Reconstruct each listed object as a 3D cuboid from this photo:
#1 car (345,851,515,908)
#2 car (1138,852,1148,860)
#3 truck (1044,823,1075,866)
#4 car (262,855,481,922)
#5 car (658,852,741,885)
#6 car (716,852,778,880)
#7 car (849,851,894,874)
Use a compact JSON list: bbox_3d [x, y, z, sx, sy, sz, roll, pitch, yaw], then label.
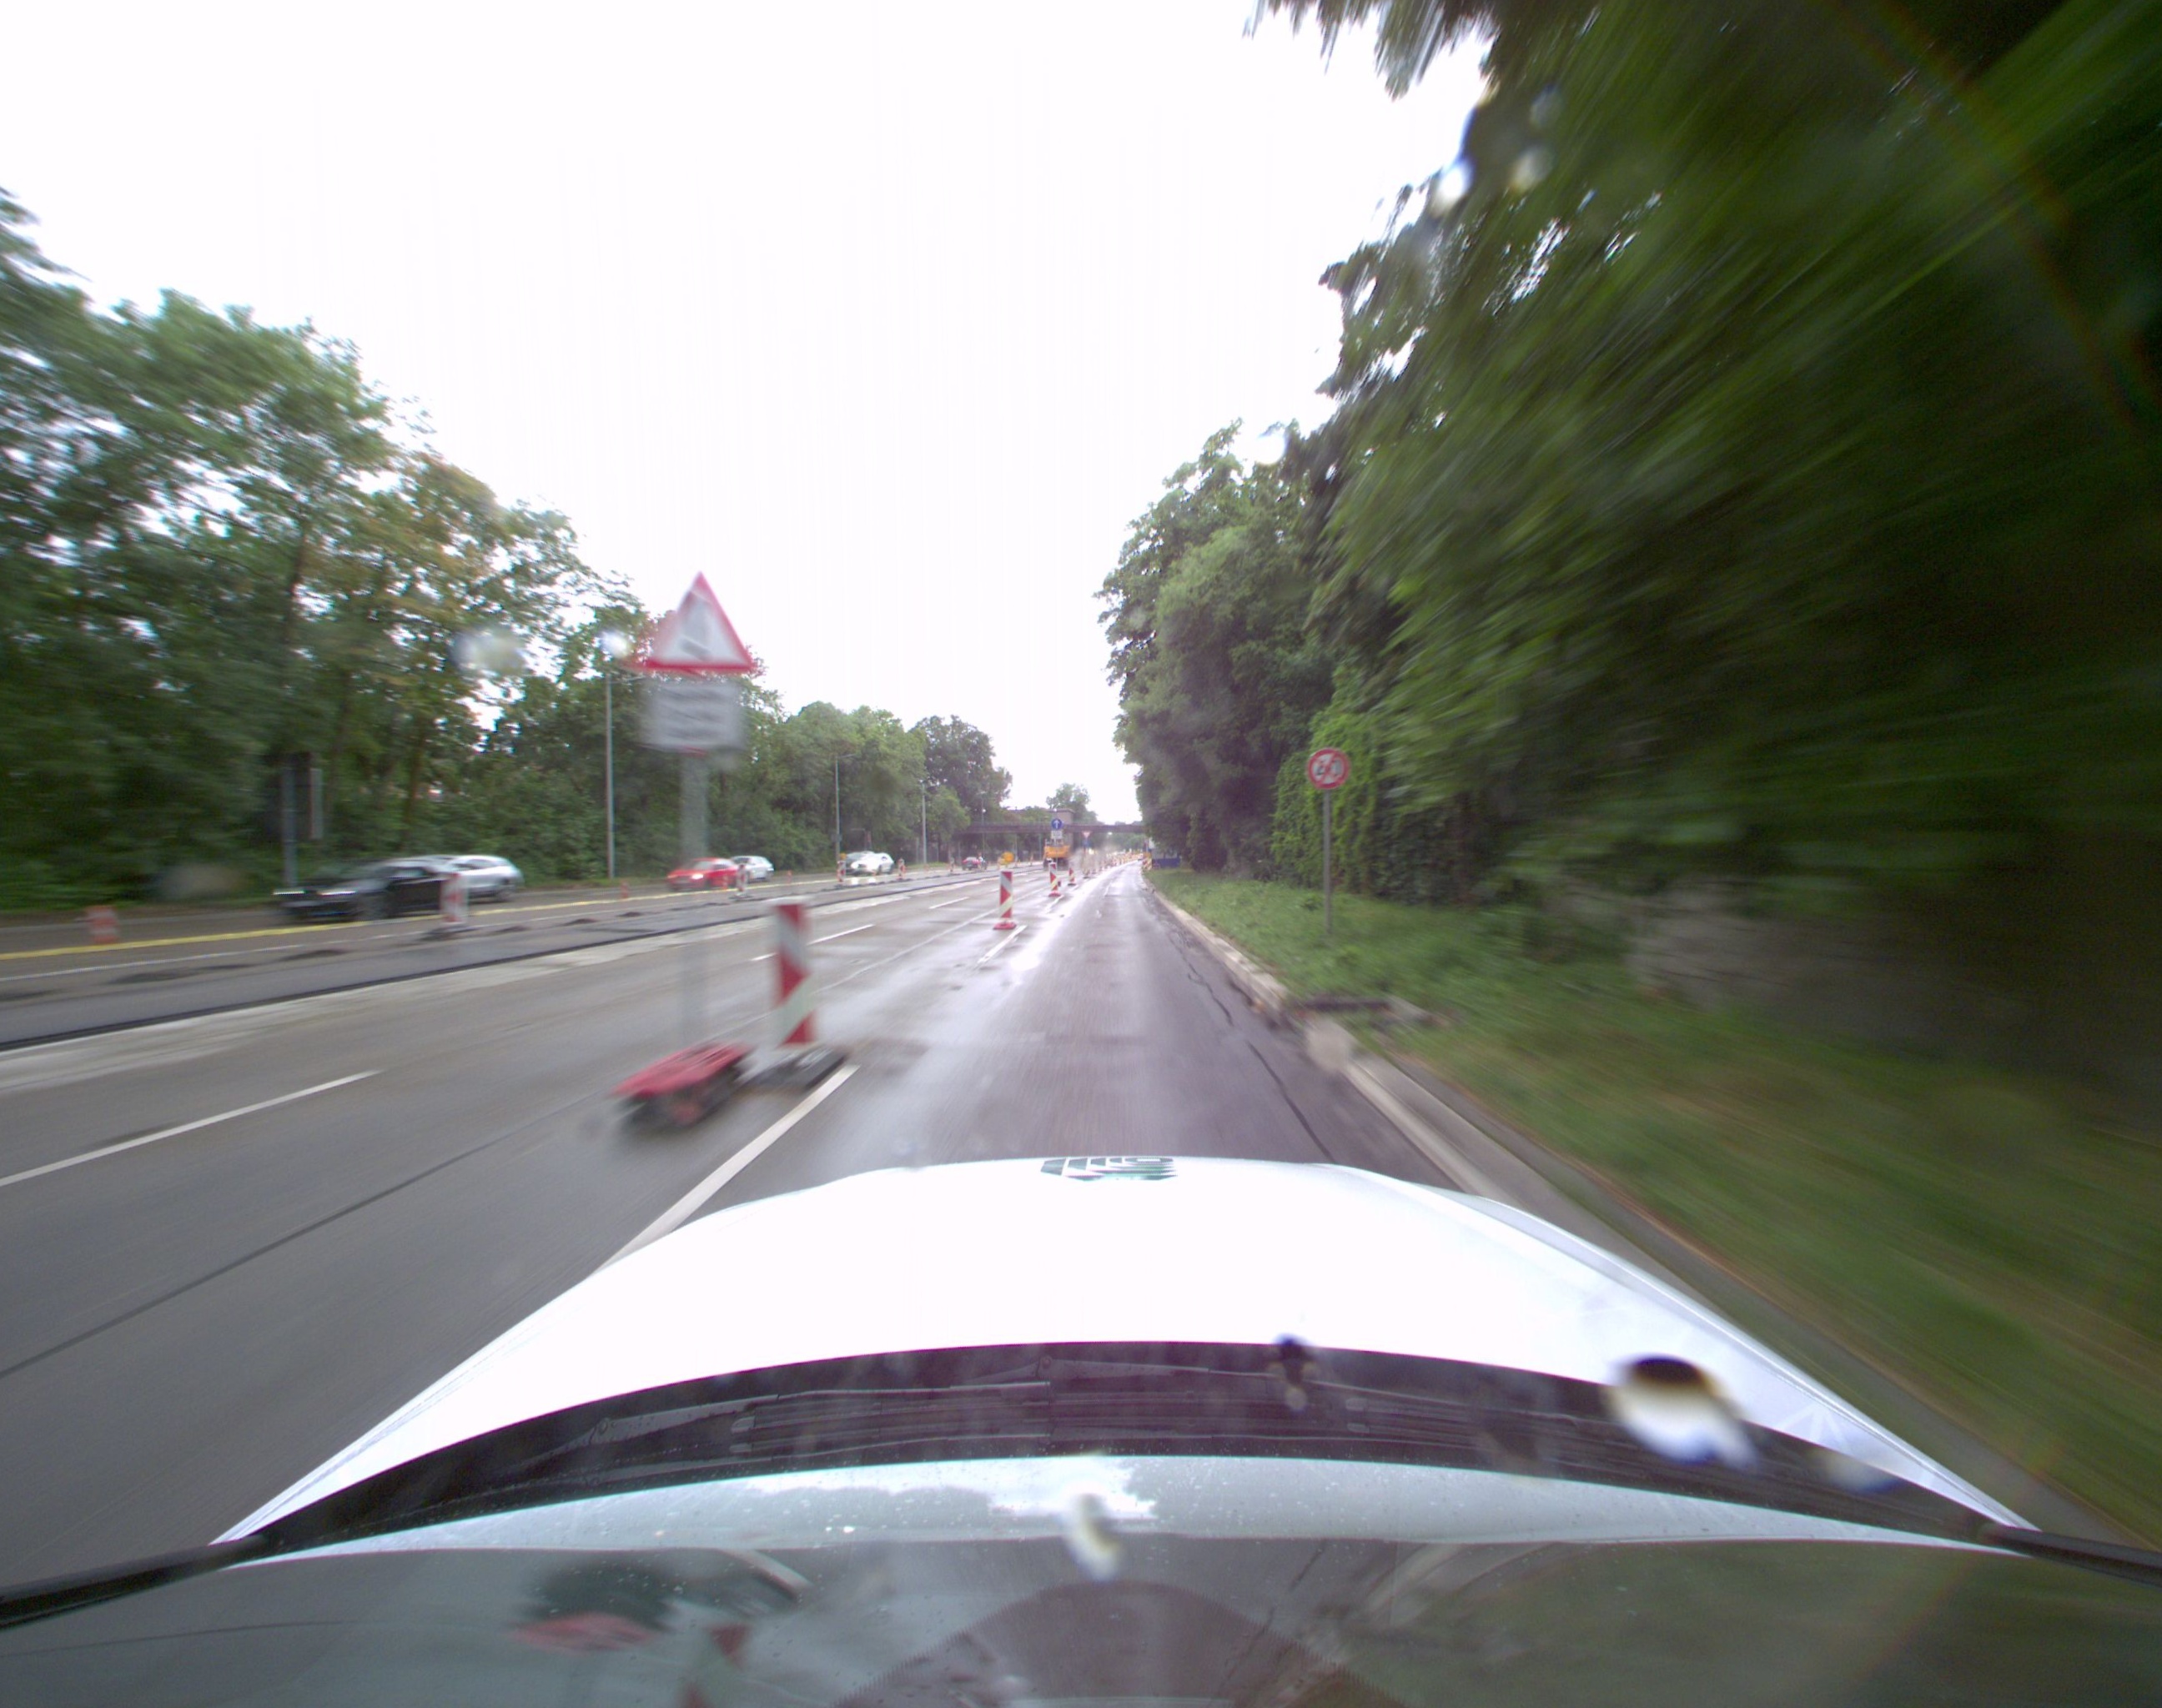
[{"bbox_3d":[-20.200,0.713,25.550,1.696,1.627,4.420,0,0,1],"label":"car"},{"bbox_3d":[13.629,0.420,179.204,1.984,1.640,4.006,-2,0,5],"label":"car"},{"bbox_3d":[-2.201,-0.930,86.034,2.888,4.259,10.755,0,0,0],"label":"truck"},{"bbox_3d":[-17.702,0.793,20.636,1.770,1.487,4.198,0,0,2],"label":"car"},{"bbox_3d":[-16.934,0.615,36.343,1.672,1.400,4.015,0,0,2],"label":"car"},{"bbox_3d":[-19.138,0.675,46.880,1.672,1.496,4.151,-2,0,2],"label":"car"},{"bbox_3d":[-15.516,0.584,60.616,1.883,1.661,4.896,0,0,2],"label":"car"}]
